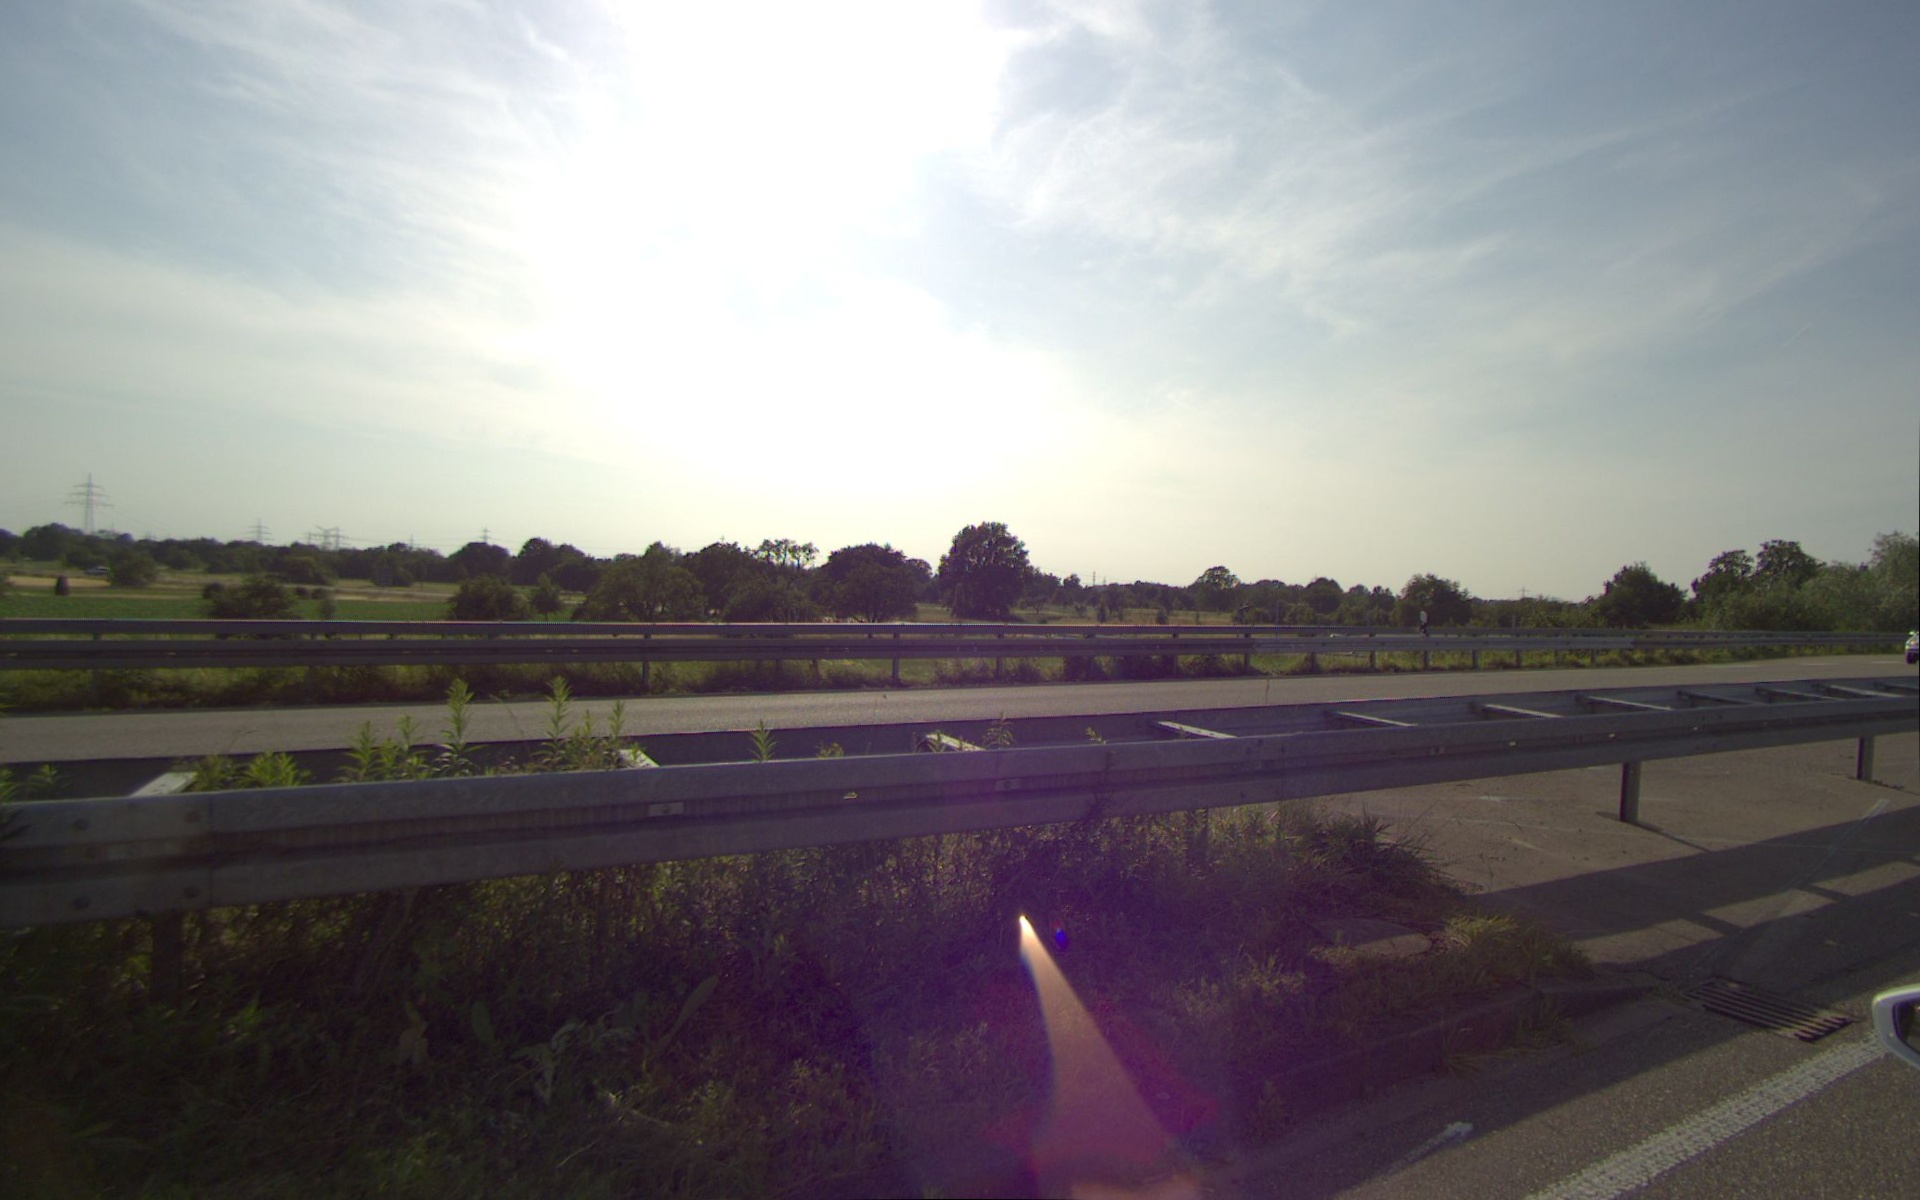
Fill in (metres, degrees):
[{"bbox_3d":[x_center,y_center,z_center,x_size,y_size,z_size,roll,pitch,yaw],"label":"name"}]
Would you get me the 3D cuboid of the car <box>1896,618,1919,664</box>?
[{"bbox_3d":[32.770,1.334,33.197,3.954,1.440,1.631,0,2,-31],"label":"car"}]
